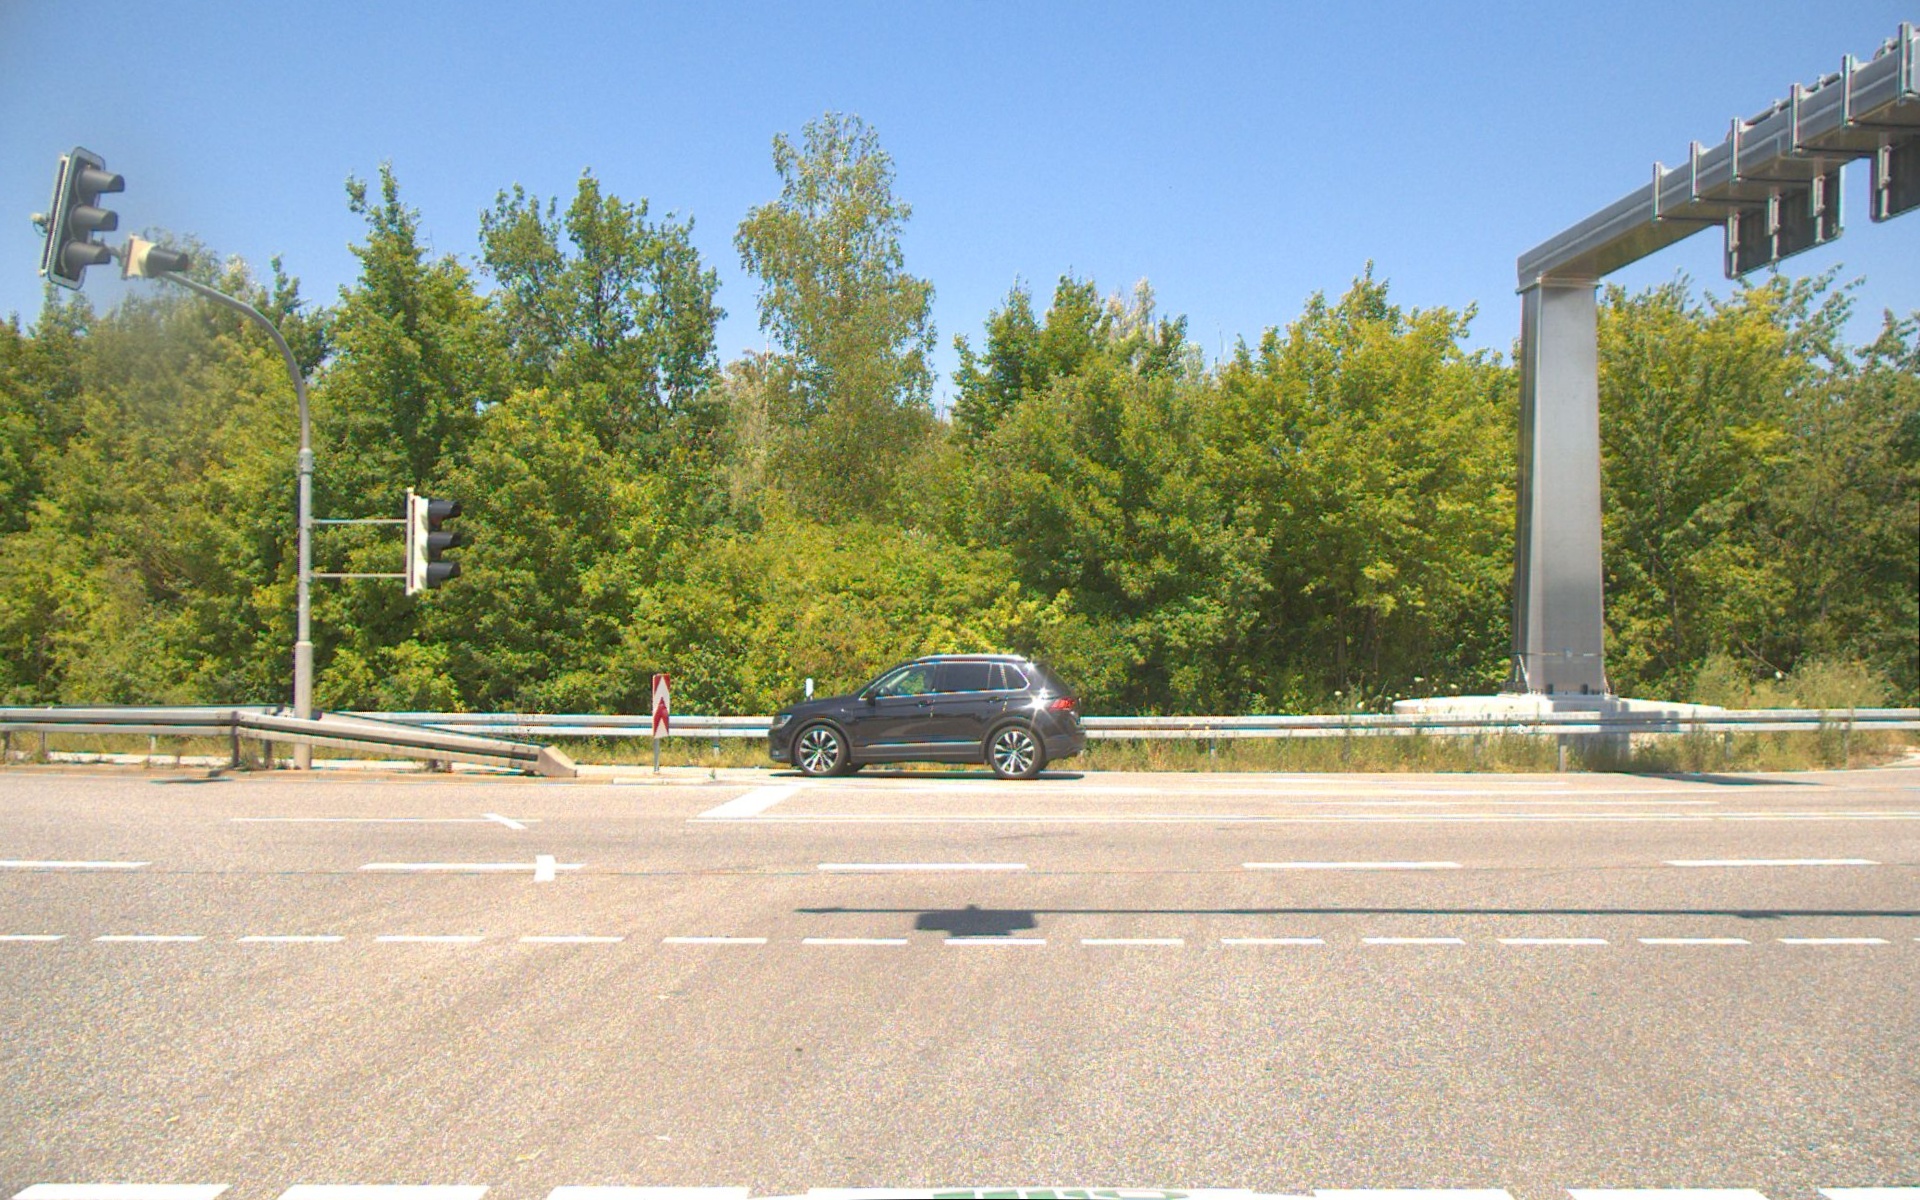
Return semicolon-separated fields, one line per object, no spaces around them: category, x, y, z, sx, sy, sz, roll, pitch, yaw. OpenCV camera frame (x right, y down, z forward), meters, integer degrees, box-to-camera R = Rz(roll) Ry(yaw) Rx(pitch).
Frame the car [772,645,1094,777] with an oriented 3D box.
car;-0.306;1.520;22.818;4.171;1.661;1.906;1;-4;8
